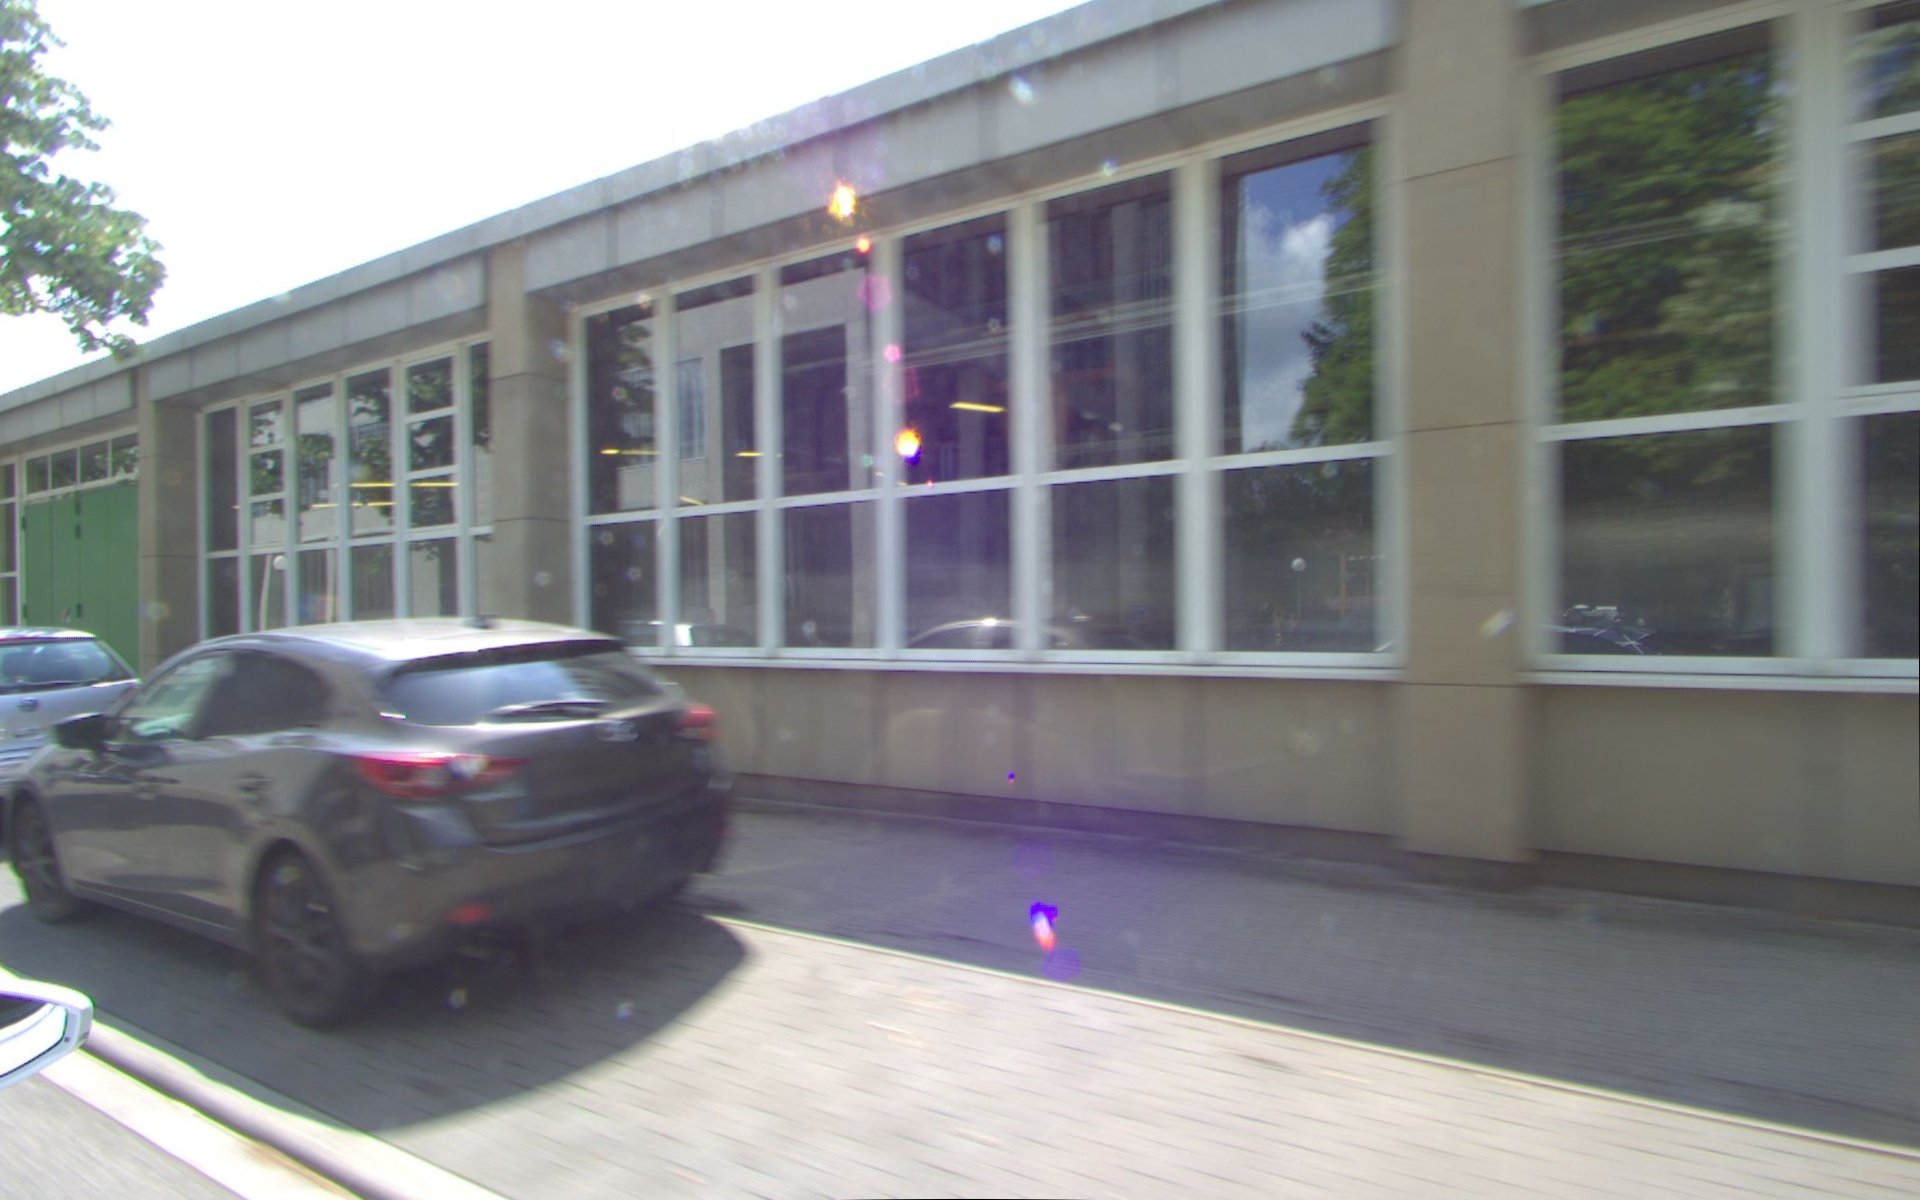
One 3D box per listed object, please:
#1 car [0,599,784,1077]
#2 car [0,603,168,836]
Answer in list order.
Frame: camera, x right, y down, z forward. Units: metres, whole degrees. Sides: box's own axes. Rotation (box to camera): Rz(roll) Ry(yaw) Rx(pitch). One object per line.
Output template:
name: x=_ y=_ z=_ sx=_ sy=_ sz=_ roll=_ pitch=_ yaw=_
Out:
car: x=-3.163 y=0.792 z=5.090 sx=4.397 sy=1.496 sz=1.777 roll=-1 pitch=1 yaw=32
car: x=-7.921 y=0.834 z=7.802 sx=3.726 sy=1.558 sz=1.613 roll=-1 pitch=-1 yaw=32
